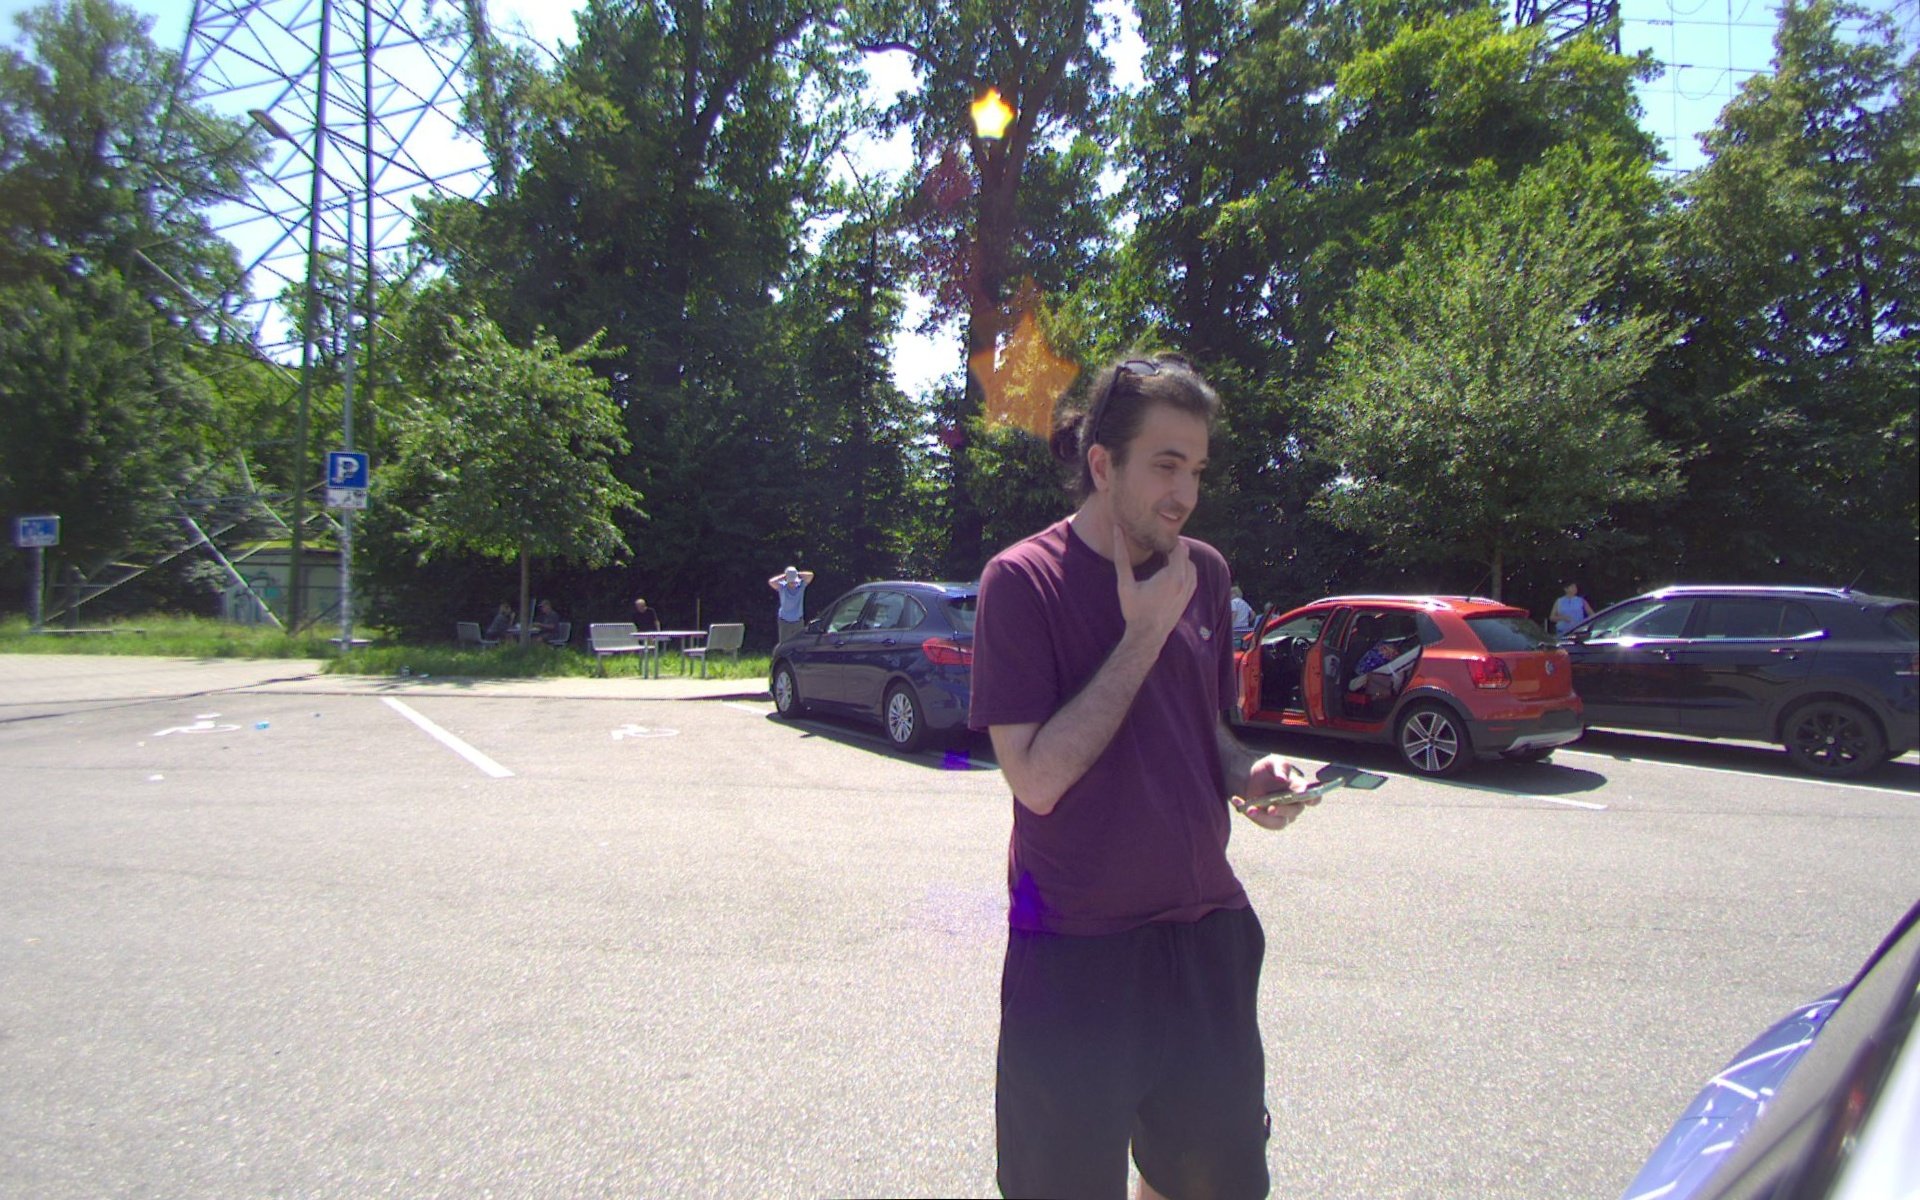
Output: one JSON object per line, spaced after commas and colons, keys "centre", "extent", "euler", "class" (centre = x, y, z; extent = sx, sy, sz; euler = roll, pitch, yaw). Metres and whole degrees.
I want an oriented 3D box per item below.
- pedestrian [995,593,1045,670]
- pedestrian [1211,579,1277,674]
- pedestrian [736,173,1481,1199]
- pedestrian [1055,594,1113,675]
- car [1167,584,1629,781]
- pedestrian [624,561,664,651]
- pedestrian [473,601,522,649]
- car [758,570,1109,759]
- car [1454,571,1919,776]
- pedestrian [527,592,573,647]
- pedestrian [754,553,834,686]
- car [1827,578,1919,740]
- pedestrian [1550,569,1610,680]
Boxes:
{"centre": [1.020, 0.525, 17.284], "extent": [0.656, 1.285, 0.655], "euler": [1, -1, -17], "class": "pedestrian"}
{"centre": [4.994, 0.451, 17.828], "extent": [0.760, 1.614, 0.810], "euler": [1, -1, -31], "class": "pedestrian"}
{"centre": [0.261, 0.454, 1.674], "extent": [0.828, 1.797, 0.926], "euler": [0, -1, 45], "class": "pedestrian"}
{"centre": [2.056, 0.565, 16.880], "extent": [0.656, 1.311, 0.832], "euler": [1, -1, -17], "class": "pedestrian"}
{"centre": [3.934, 0.619, 9.653], "extent": [1.746, 1.475, 3.710], "euler": [1, 0, -33], "class": "car"}
{"centre": [-6.674, 0.127, 21.401], "extent": [0.700, 1.851, 0.906], "euler": [1, -1, -11], "class": "pedestrian"}
{"centre": [-10.442, 0.557, 22.845], "extent": [0.796, 1.062, 0.714], "euler": [1, -1, -43], "class": "pedestrian"}
{"centre": [-0.477, 0.542, 10.701], "extent": [1.809, 1.588, 4.017], "euler": [1, 0, -35], "class": "car"}
{"centre": [7.215, 0.573, 9.840], "extent": [1.807, 1.612, 3.967], "euler": [1, 0, -38], "class": "car"}
{"centre": [-9.576, 0.446, 23.638], "extent": [0.796, 1.253, 0.713], "euler": [1, -1, -44], "class": "pedestrian"}
{"centre": [-2.332, 0.260, 14.199], "extent": [0.786, 1.784, 0.809], "euler": [1, -1, -39], "class": "pedestrian"}
{"centre": [10.909, 0.597, 9.430], "extent": [1.745, 1.612, 3.972], "euler": [1, 0, -32], "class": "car"}
{"centre": [9.393, 0.358, 15.363], "extent": [0.708, 1.614, 0.802], "euler": [0, -1, 28], "class": "pedestrian"}
